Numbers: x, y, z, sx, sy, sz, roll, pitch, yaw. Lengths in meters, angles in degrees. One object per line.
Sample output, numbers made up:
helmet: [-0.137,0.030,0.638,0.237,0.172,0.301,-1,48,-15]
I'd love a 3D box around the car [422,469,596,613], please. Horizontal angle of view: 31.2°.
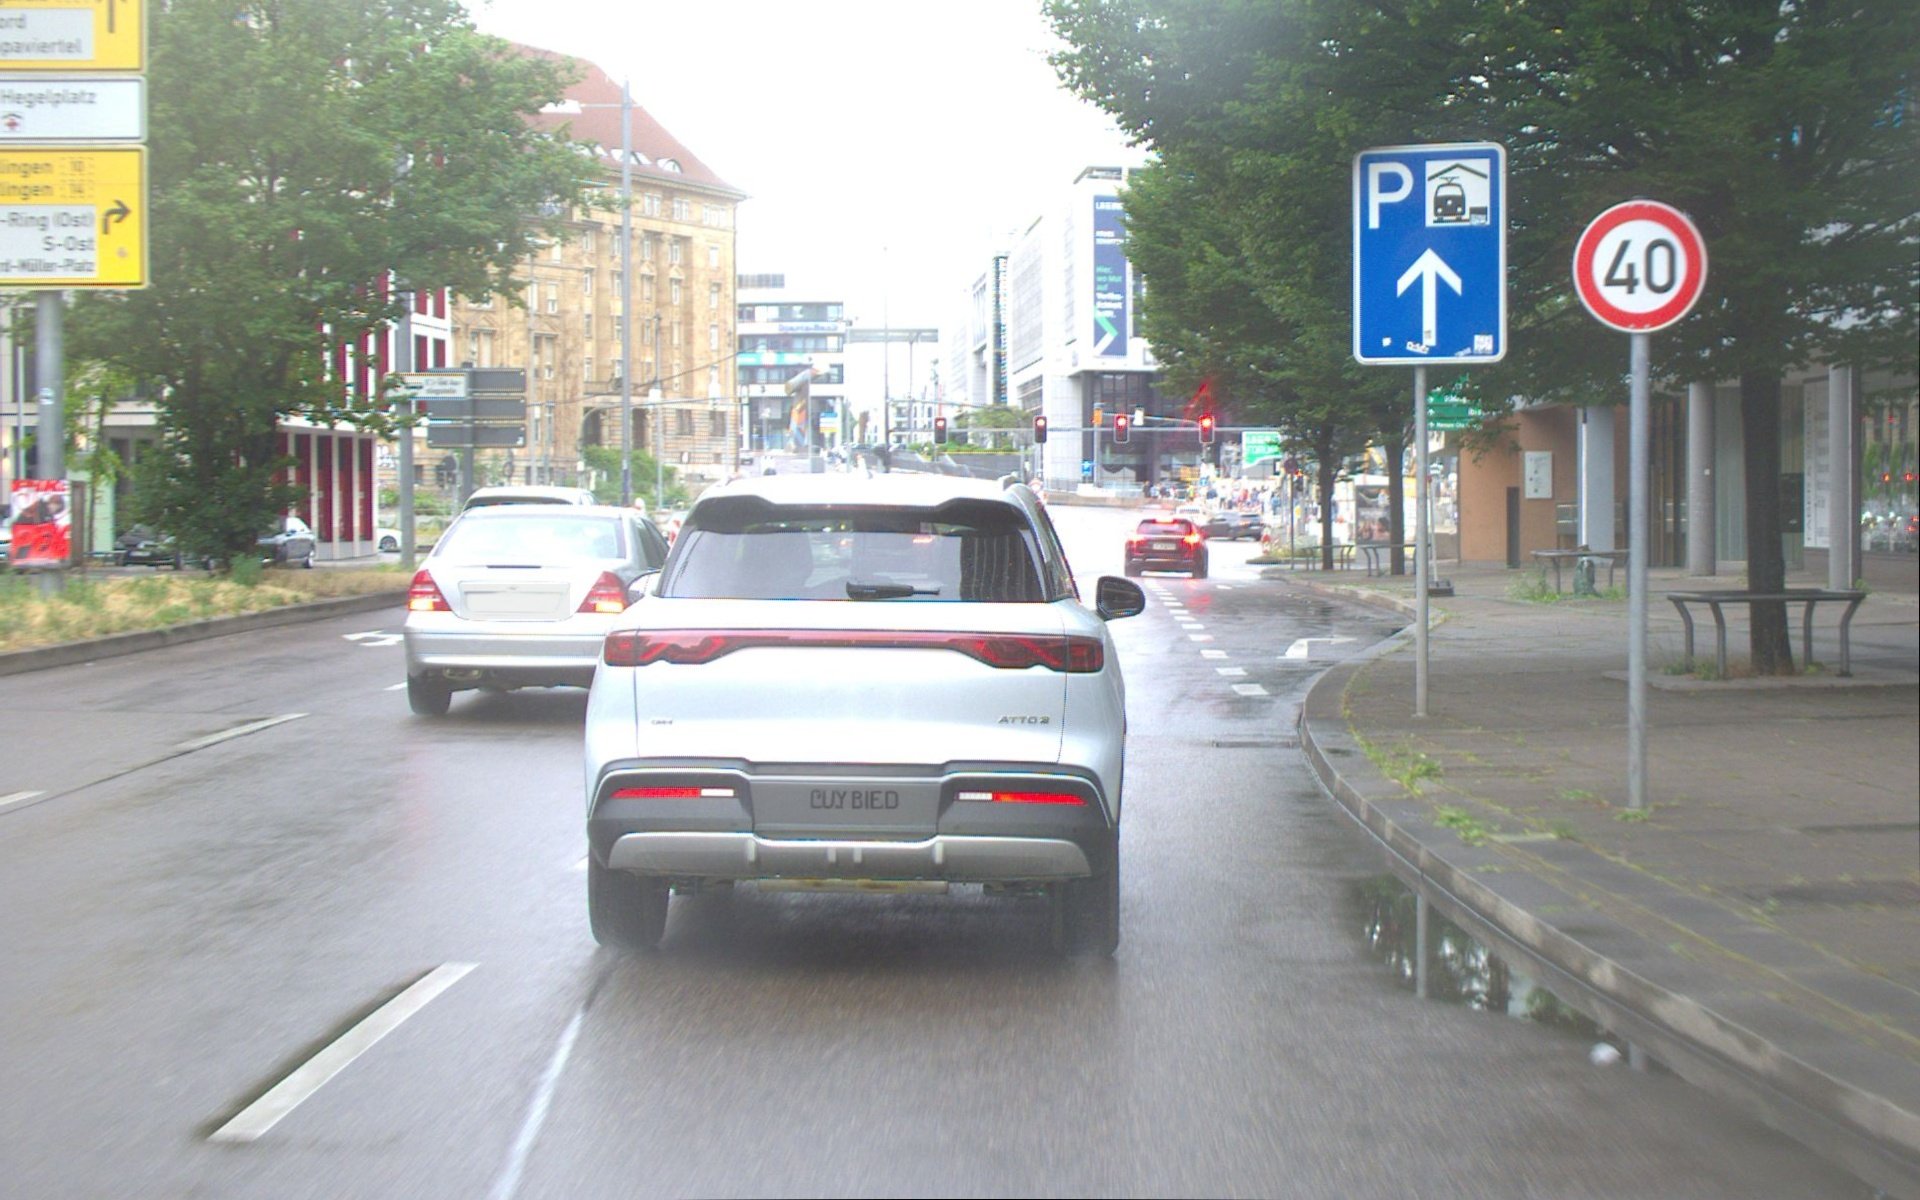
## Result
car: [-5.394,-0.695,41.485,1.732,1.610,4.000,1,0,-3]

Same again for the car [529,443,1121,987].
car: [-0.392,0.343,12.800,1.808,1.655,4.170,1,0,1]

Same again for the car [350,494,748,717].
car: [-2.792,0.024,24.364,1.733,1.399,4.382,1,0,8]

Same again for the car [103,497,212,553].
car: [-20.974,-1.947,90.001,1.698,1.419,3.955,-1,1,3]

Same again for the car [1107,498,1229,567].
car: [4.962,-1.591,81.647,1.893,1.538,3.990,1,0,18]

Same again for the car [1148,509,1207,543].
car: [12.321,-4.193,195.022,1.993,1.809,4.001,1,0,-17]

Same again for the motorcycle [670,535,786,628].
motorcycle: [-2.566,-0.221,38.318,0.942,0.986,2.294,1,1,5]

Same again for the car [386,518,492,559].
car: [-22.626,-2.657,149.343,4.379,1.656,2.001,1,0,-13]

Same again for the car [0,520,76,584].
car: [-21.707,-1.078,78.449,1.698,1.419,4.373,-1,1,3]

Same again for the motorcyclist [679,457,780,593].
motorcyclist: [-2.564,-0.827,38.343,0.941,1.470,1.100,1,0,5]

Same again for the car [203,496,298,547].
car: [-20.519,-2.259,99.518,1.698,1.419,3.955,-1,1,3]
